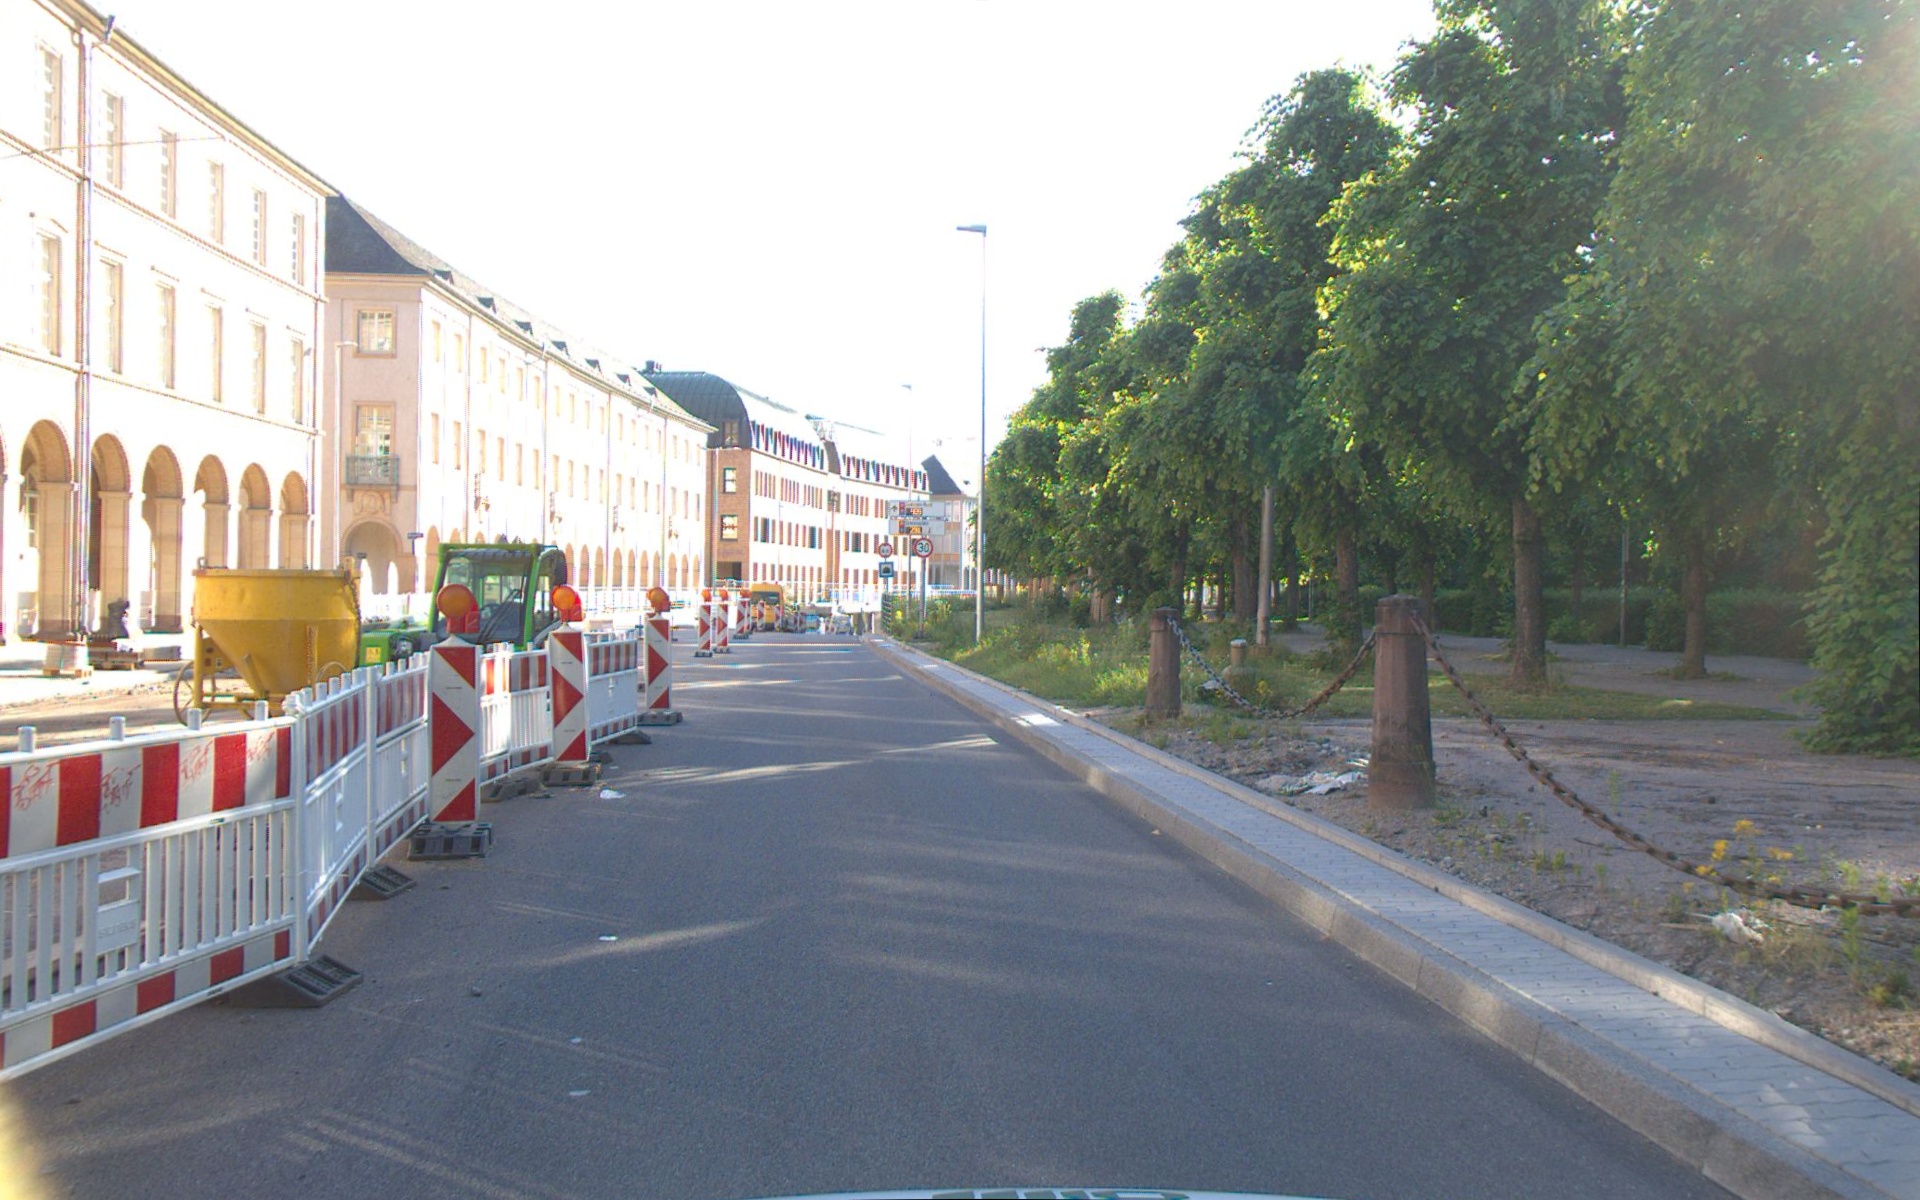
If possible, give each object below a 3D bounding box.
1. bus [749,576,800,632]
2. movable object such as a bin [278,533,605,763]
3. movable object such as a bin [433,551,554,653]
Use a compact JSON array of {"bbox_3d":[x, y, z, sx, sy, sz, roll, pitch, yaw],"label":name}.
[{"bbox_3d":[-9.708,0.246,86.874,2.030,2.734,4.683,1,-2,1],"label":"bus"},{"bbox_3d":[-5.000,0.369,16.634,2.009,1.983,4.334,1,1,-2],"label":"movable object such as a bin"},{"bbox_3d":[-12.196,-0.011,43.532,2.033,2.518,4.615,1,1,-3],"label":"movable object such as a bin"}]
